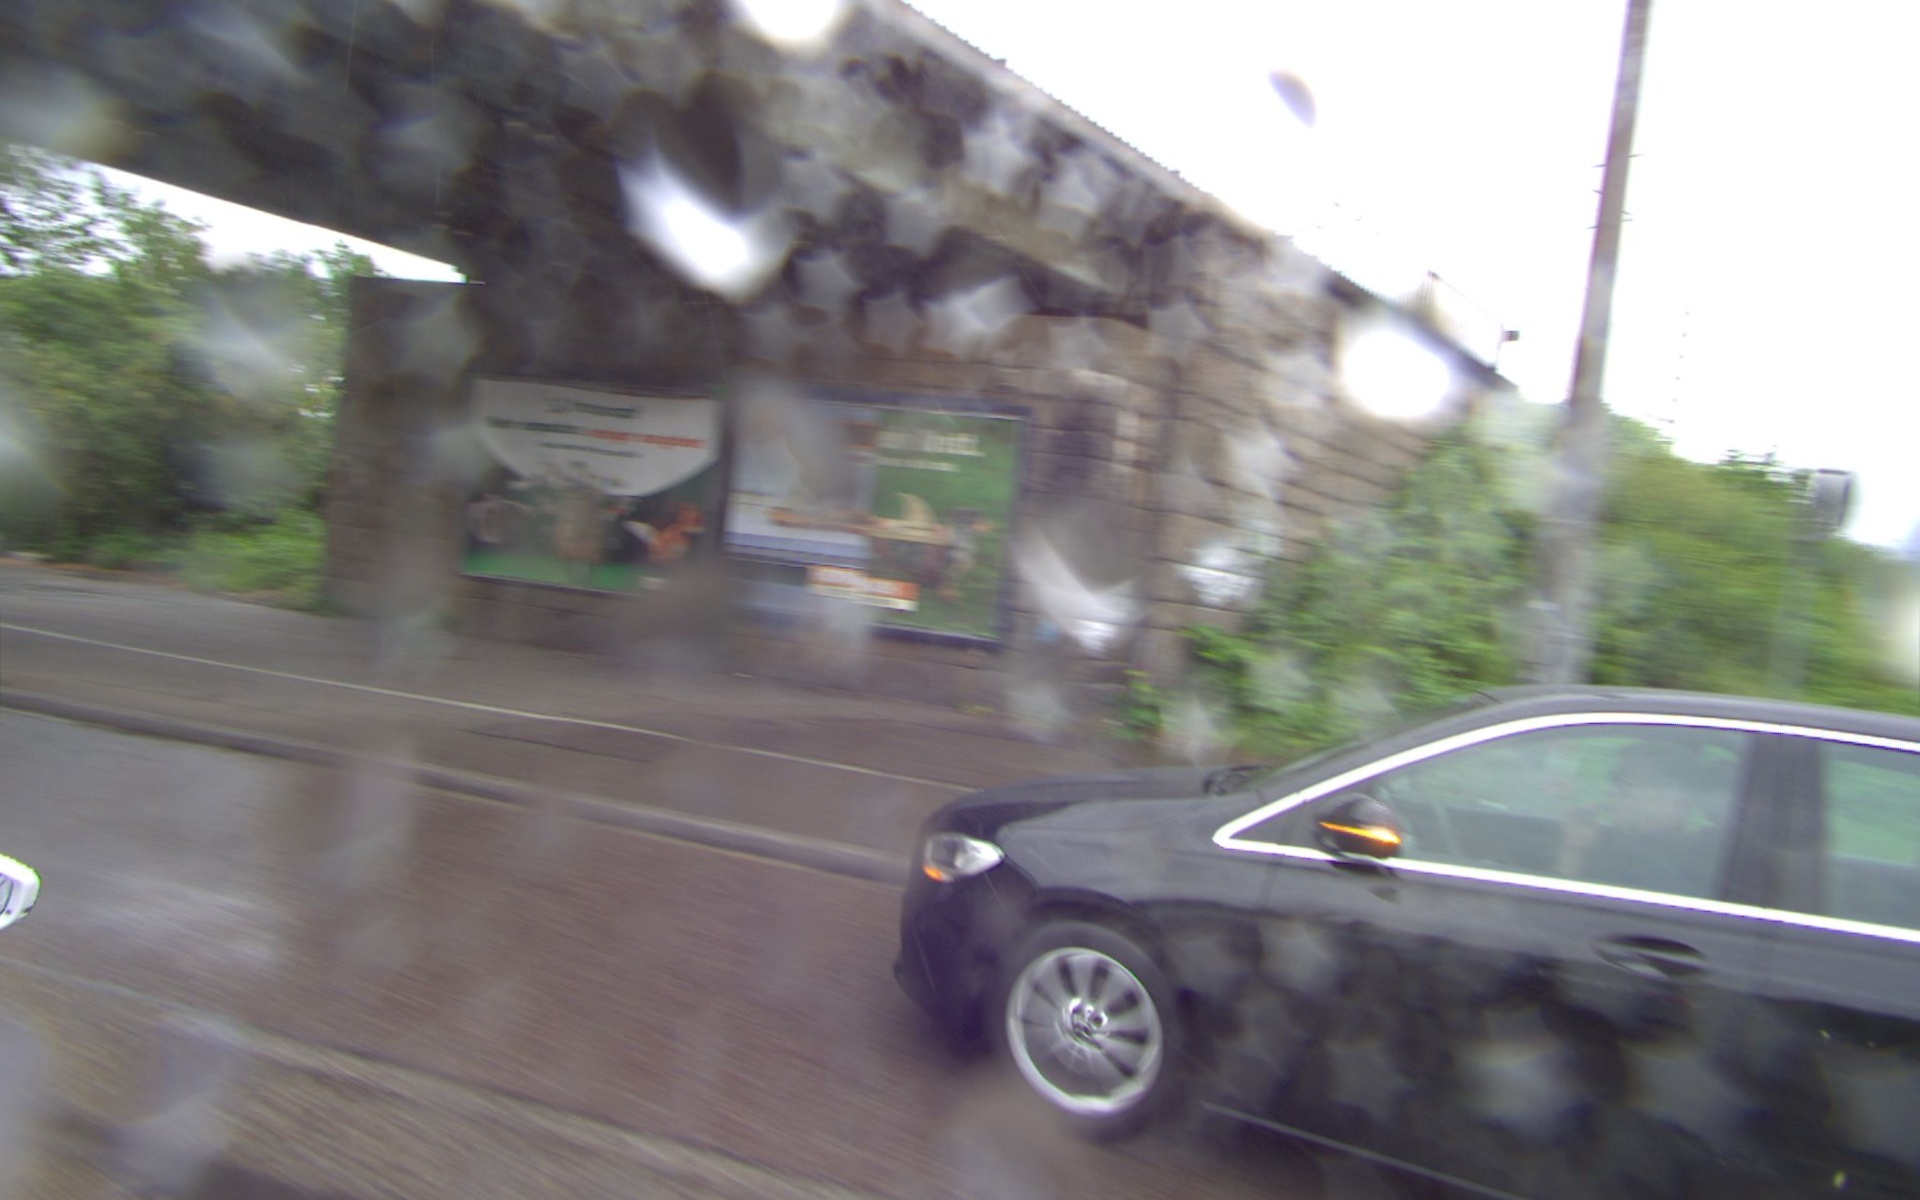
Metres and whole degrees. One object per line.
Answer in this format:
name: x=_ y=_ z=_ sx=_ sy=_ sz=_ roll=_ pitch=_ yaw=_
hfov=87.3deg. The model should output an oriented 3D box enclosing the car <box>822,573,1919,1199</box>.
car: x=1.828 y=0.944 z=3.206 sx=4.014 sy=1.543 sz=1.874 roll=7 pitch=1 yaw=26
